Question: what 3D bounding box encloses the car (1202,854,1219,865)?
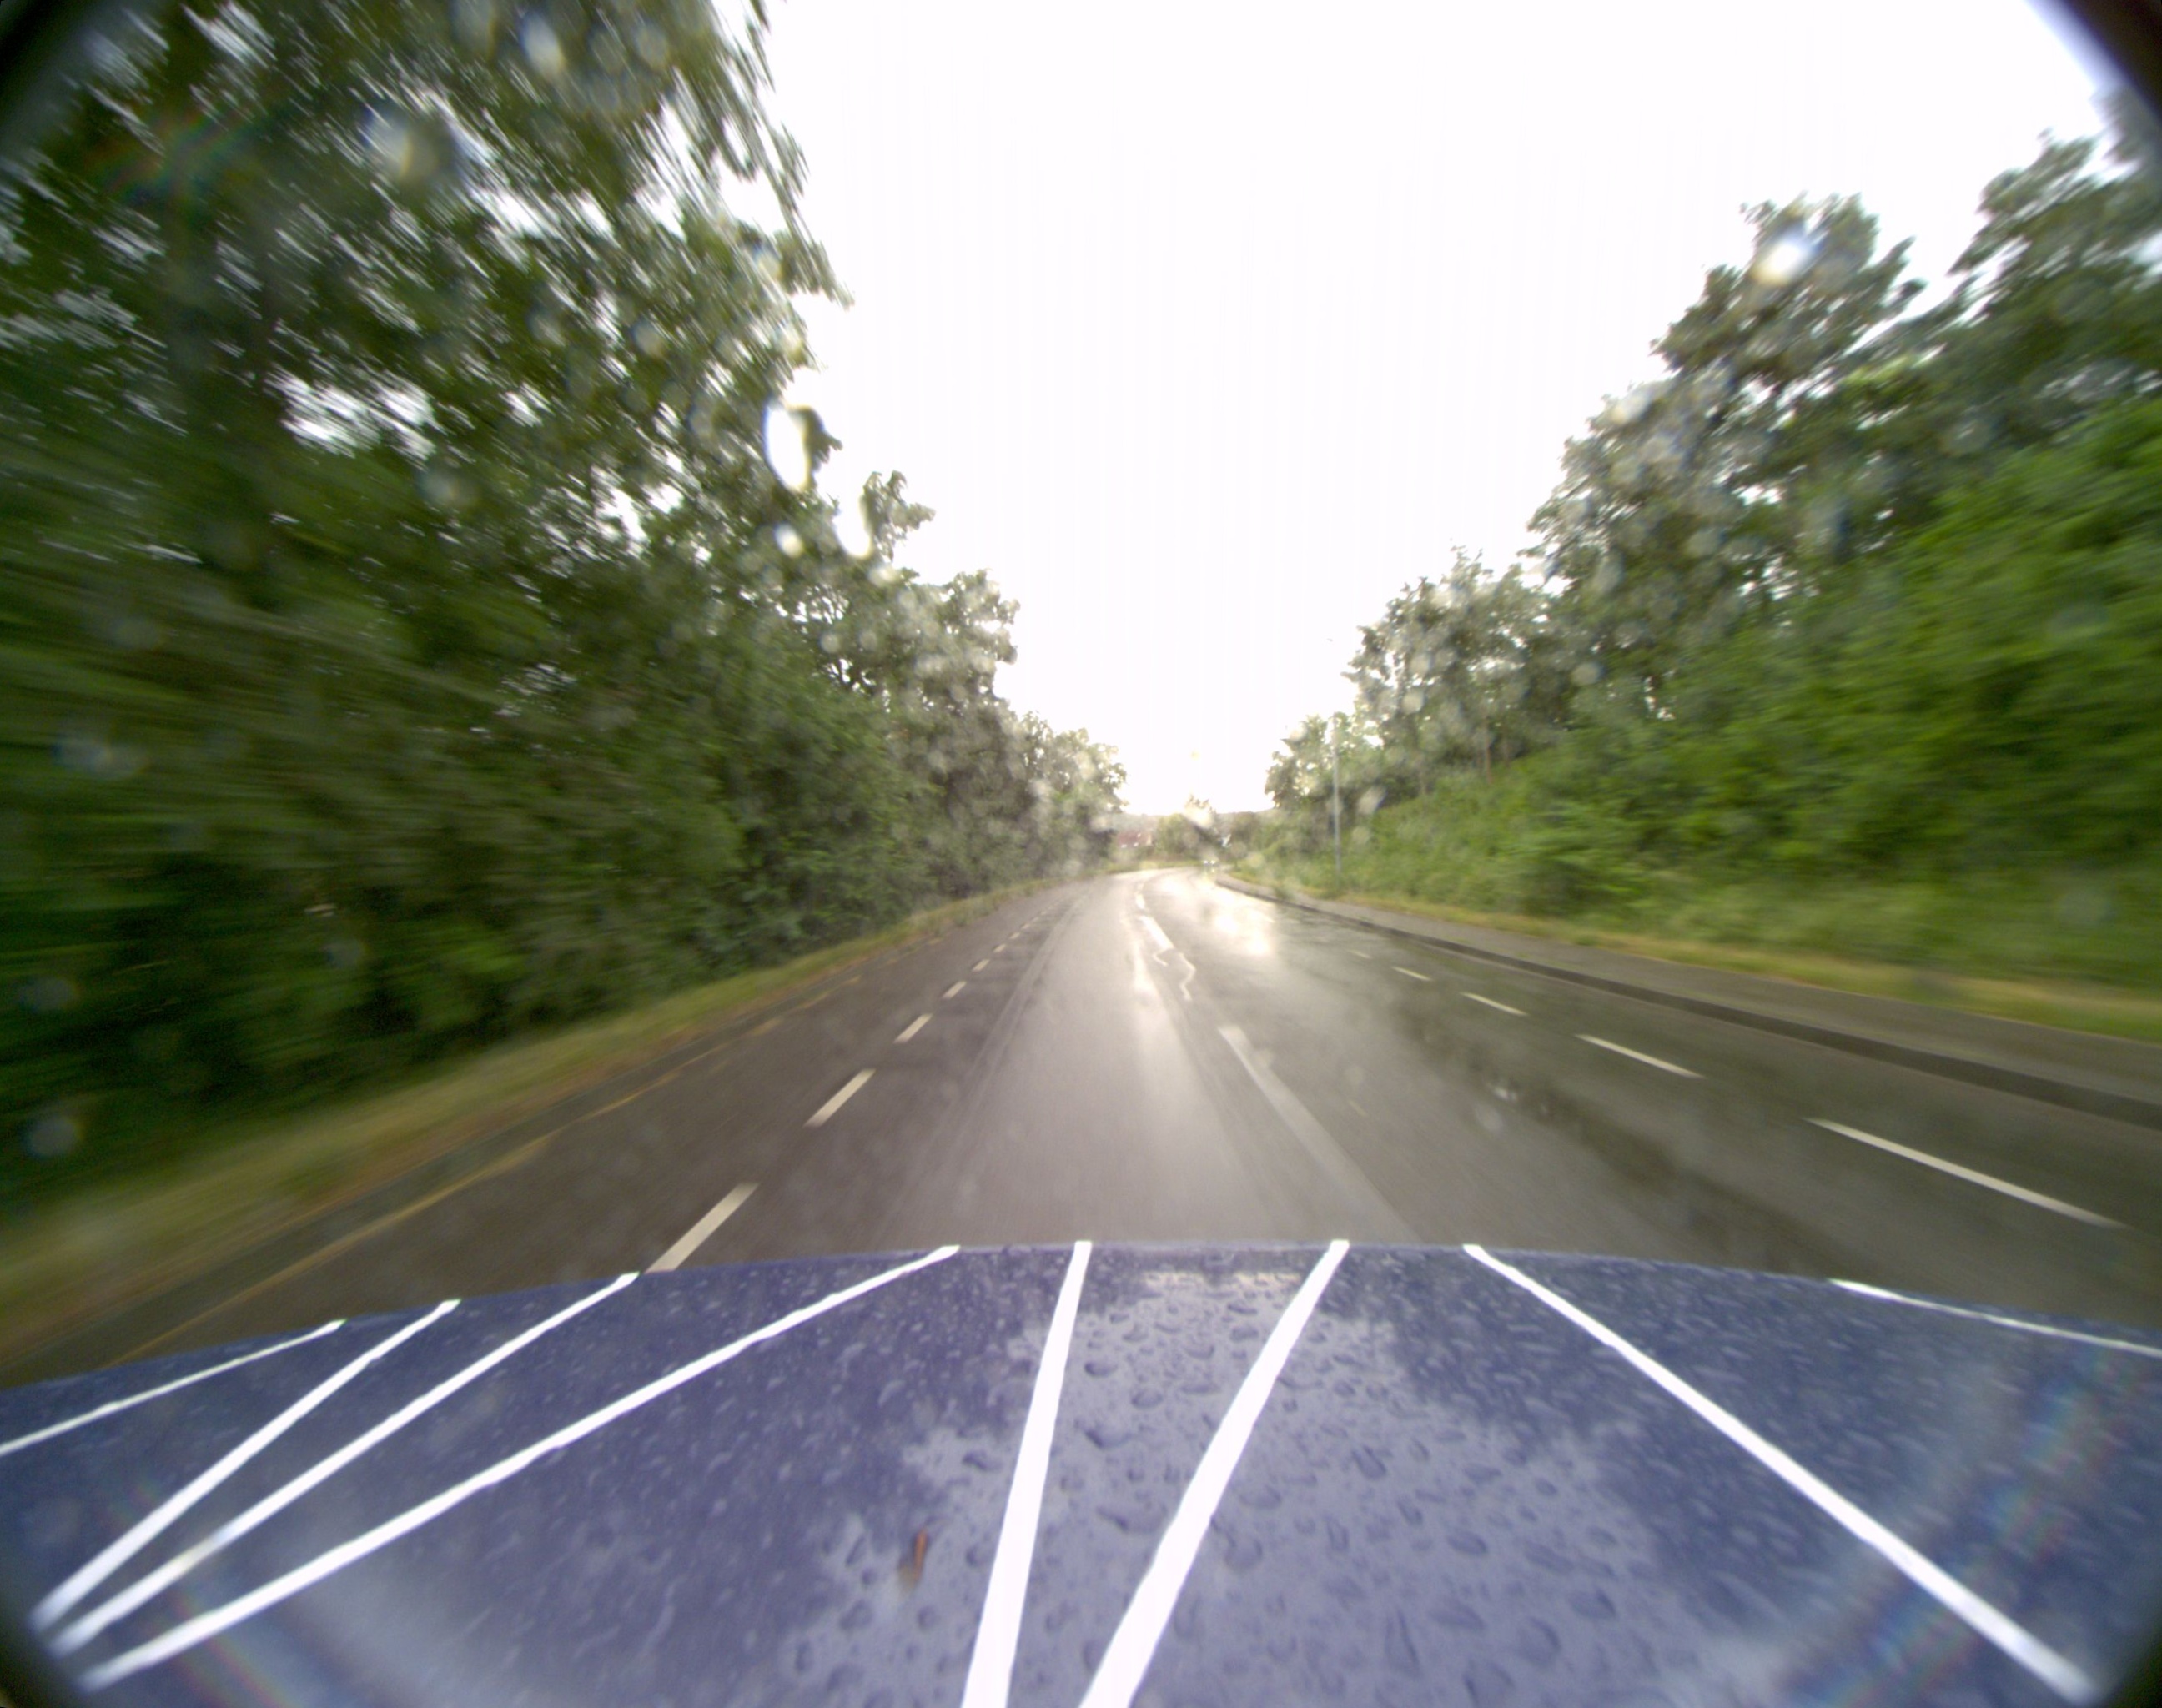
[{"bbox_3d":[19.432,0.802,113.796,1.876,1.596,4.006,1,1,19],"label":"car"}]
